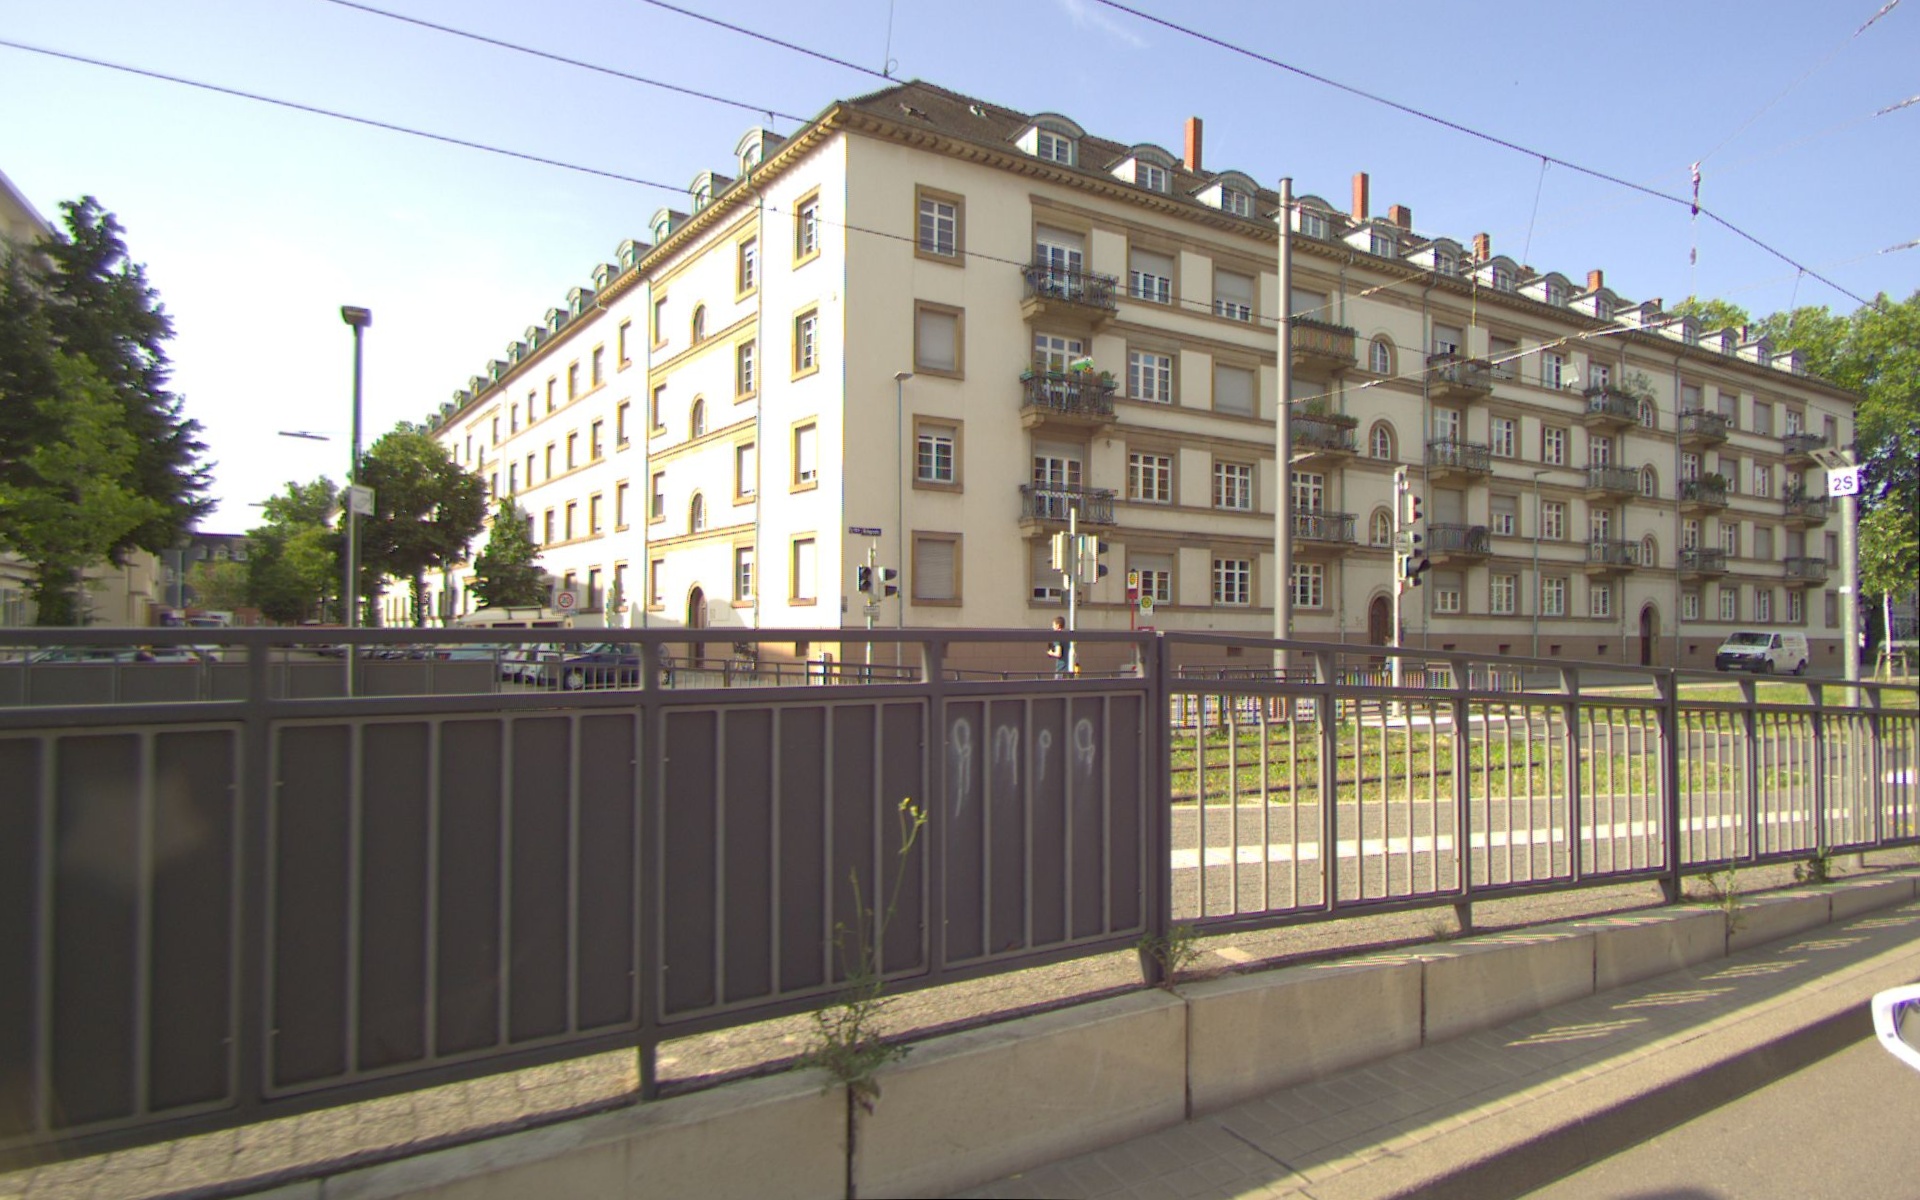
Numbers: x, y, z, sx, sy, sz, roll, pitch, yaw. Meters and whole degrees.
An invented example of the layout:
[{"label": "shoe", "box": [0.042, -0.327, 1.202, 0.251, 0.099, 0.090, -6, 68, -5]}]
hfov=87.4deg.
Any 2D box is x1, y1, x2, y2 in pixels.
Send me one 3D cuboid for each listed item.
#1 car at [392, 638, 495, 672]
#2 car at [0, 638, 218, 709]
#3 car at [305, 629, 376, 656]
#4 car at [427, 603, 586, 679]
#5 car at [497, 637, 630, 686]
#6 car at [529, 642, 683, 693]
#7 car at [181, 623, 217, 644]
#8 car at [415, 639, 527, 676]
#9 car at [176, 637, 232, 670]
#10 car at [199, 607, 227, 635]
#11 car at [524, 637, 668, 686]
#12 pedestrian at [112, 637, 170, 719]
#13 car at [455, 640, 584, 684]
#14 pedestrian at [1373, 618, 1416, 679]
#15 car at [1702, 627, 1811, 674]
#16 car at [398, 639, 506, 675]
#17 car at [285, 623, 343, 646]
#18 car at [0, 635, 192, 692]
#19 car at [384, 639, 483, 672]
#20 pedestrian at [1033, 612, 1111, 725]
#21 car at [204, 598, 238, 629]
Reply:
[{"label": "car", "box": [-22.869, 2.396, 44.537, 3.857, 1.434, 1.662, 1, -2, -35]}, {"label": "car", "box": [-21.380, 1.773, 25.038, 4.508, 1.620, 1.753, 1, -2, -34]}, {"label": "car", "box": [-42.166, 2.871, 68.407, 3.964, 1.817, 1.979, 2, -2, -38]}, {"label": "car", "box": [-16.645, 1.503, 36.986, 5.006, 2.617, 1.979, 2, -2, -37]}, {"label": "car", "box": [-13.221, 2.015, 33.567, 3.887, 1.553, 1.662, 1, -2, -35]}, {"label": "car", "box": [-10.265, 1.912, 29.258, 3.962, 1.372, 1.569, 2, -2, -36]}, {"label": "car", "box": [-51.437, 2.254, 67.913, 1.811, 1.394, 3.960, 1, -2, -36]}, {"label": "car", "box": [-19.727, 2.288, 40.584, 3.857, 1.434, 1.662, 1, -2, -35]}, {"label": "car", "box": [-33.366, 2.316, 44.399, 1.811, 1.394, 3.961, 1, -2, -35]}, {"label": "car", "box": [-62.801, 1.807, 84.455, 1.811, 2.341, 4.071, 1, -2, -36]}, {"label": "car", "box": [-11.403, 1.890, 31.537, 3.960, 1.424, 1.662, 1, -2, -35]}, {"label": "pedestrian", "box": [-16.492, 1.551, 20.252, 0.799, 1.604, 0.674, 1, -2, -33]}, {"label": "car", "box": [-15.371, 2.138, 35.132, 3.887, 1.434, 1.662, 1, -2, -35]}, {"label": "pedestrian", "box": [15.192, 1.692, 35.112, 1.142, 2.096, 0.839, 1, -1, -29]}, {"label": "car", "box": [35.180, 2.192, 44.328, 5.090, 1.943, 1.985, 1, 0, -29]}, {"label": "car", "box": [-21.314, 2.348, 42.183, 3.857, 1.434, 1.662, 1, -2, -35]}, {"label": "car", "box": [-55.136, 2.958, 85.763, 4.029, 1.873, 1.954, 2, -2, -38]}, {"label": "car", "box": [-24.715, 1.786, 28.893, 3.956, 1.528, 1.983, 1, -2, -32]}, {"label": "car", "box": [-24.290, 2.543, 46.354, 3.857, 1.434, 1.662, 1, -2, -35]}, {"label": "pedestrian", "box": [1.942, 1.157, 17.389, 1.053, 1.892, 0.862, 0, -2, 33]}, {"label": "car", "box": [-73.646, 1.379, 100.163, 2.563, 2.943, 5.930, 1, -2, -36]}]
